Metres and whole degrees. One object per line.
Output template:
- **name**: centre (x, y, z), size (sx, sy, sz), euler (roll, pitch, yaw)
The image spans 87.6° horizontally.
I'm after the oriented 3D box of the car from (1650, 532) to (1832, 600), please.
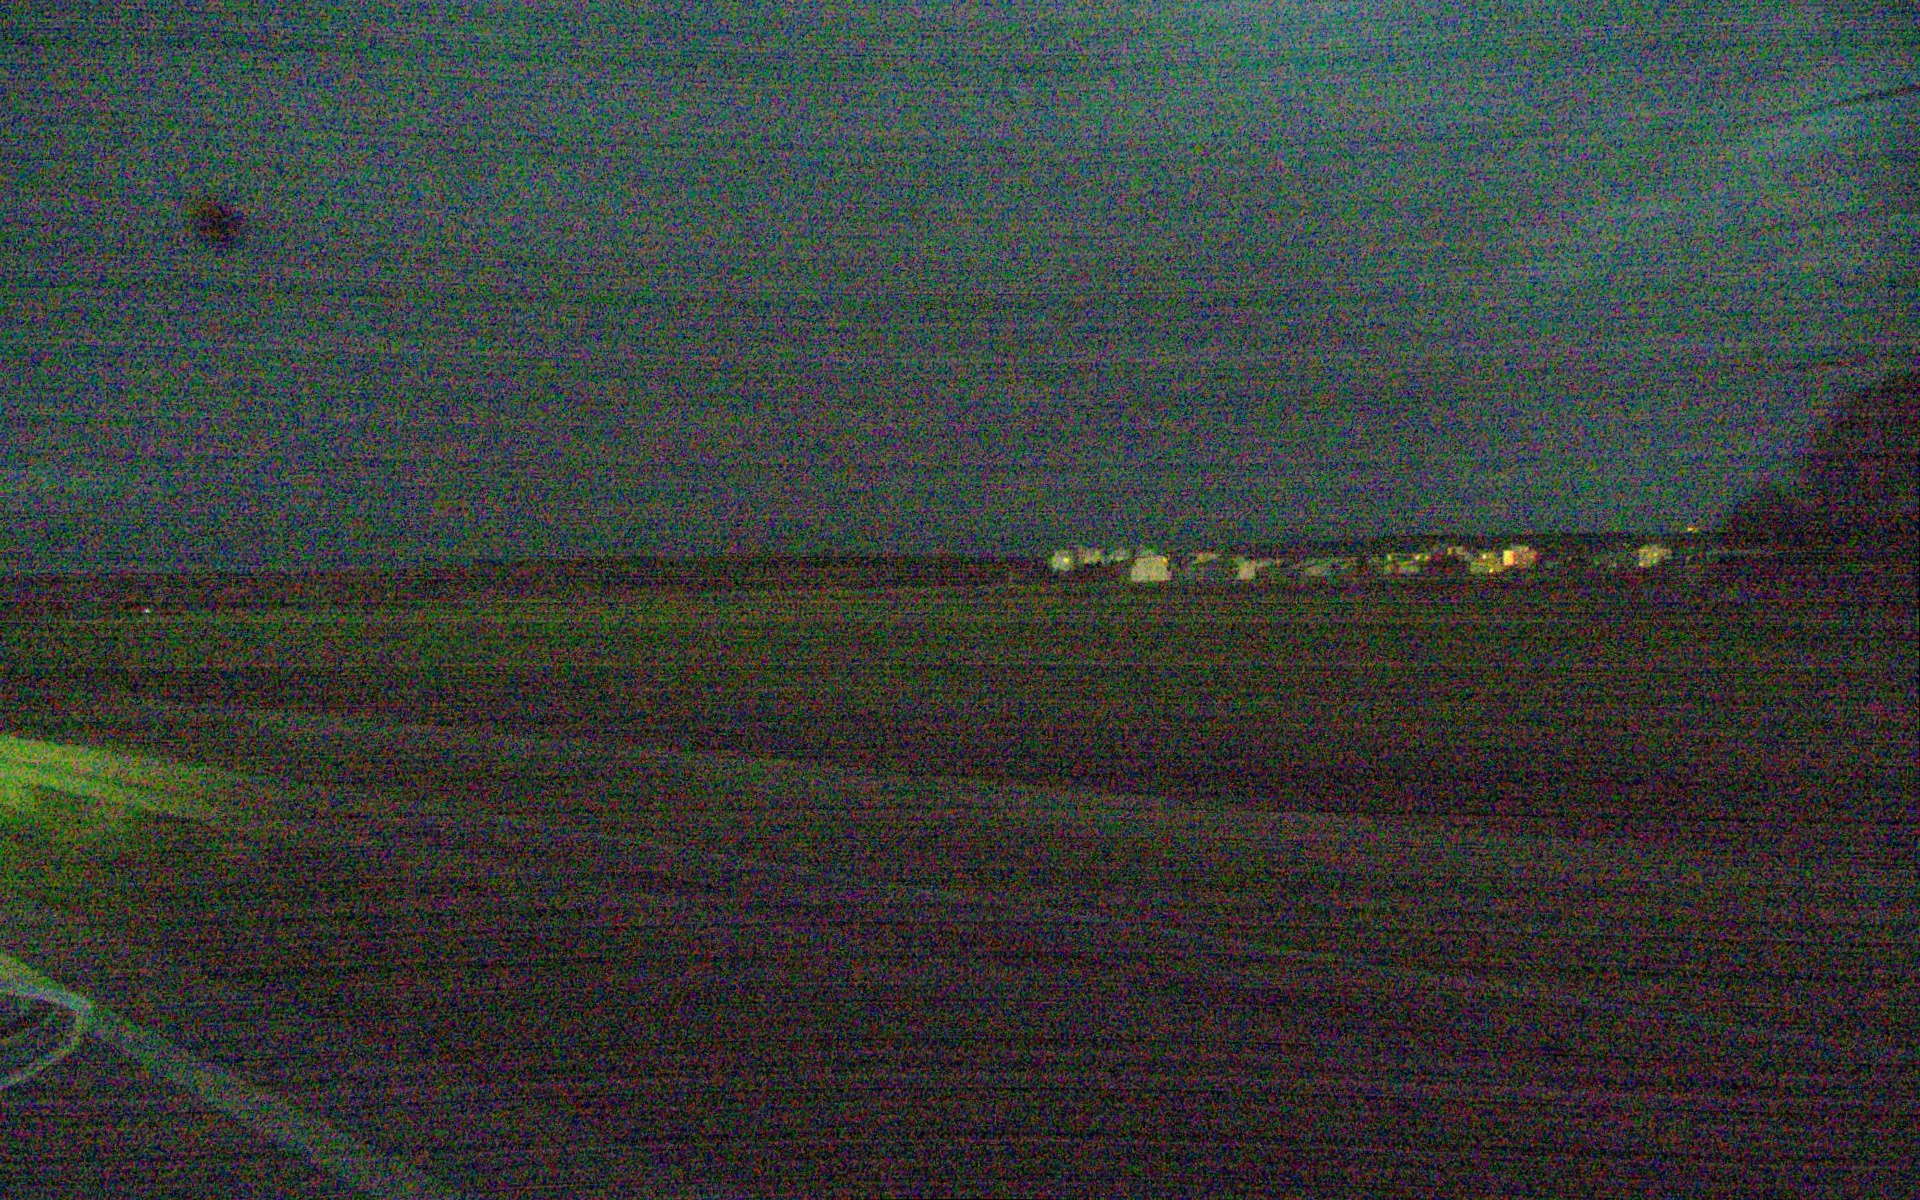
- **car**: centre (26.629, -1.121, 34.351), size (4.499, 2.181, 1.995), euler (-1, 1, 20)
